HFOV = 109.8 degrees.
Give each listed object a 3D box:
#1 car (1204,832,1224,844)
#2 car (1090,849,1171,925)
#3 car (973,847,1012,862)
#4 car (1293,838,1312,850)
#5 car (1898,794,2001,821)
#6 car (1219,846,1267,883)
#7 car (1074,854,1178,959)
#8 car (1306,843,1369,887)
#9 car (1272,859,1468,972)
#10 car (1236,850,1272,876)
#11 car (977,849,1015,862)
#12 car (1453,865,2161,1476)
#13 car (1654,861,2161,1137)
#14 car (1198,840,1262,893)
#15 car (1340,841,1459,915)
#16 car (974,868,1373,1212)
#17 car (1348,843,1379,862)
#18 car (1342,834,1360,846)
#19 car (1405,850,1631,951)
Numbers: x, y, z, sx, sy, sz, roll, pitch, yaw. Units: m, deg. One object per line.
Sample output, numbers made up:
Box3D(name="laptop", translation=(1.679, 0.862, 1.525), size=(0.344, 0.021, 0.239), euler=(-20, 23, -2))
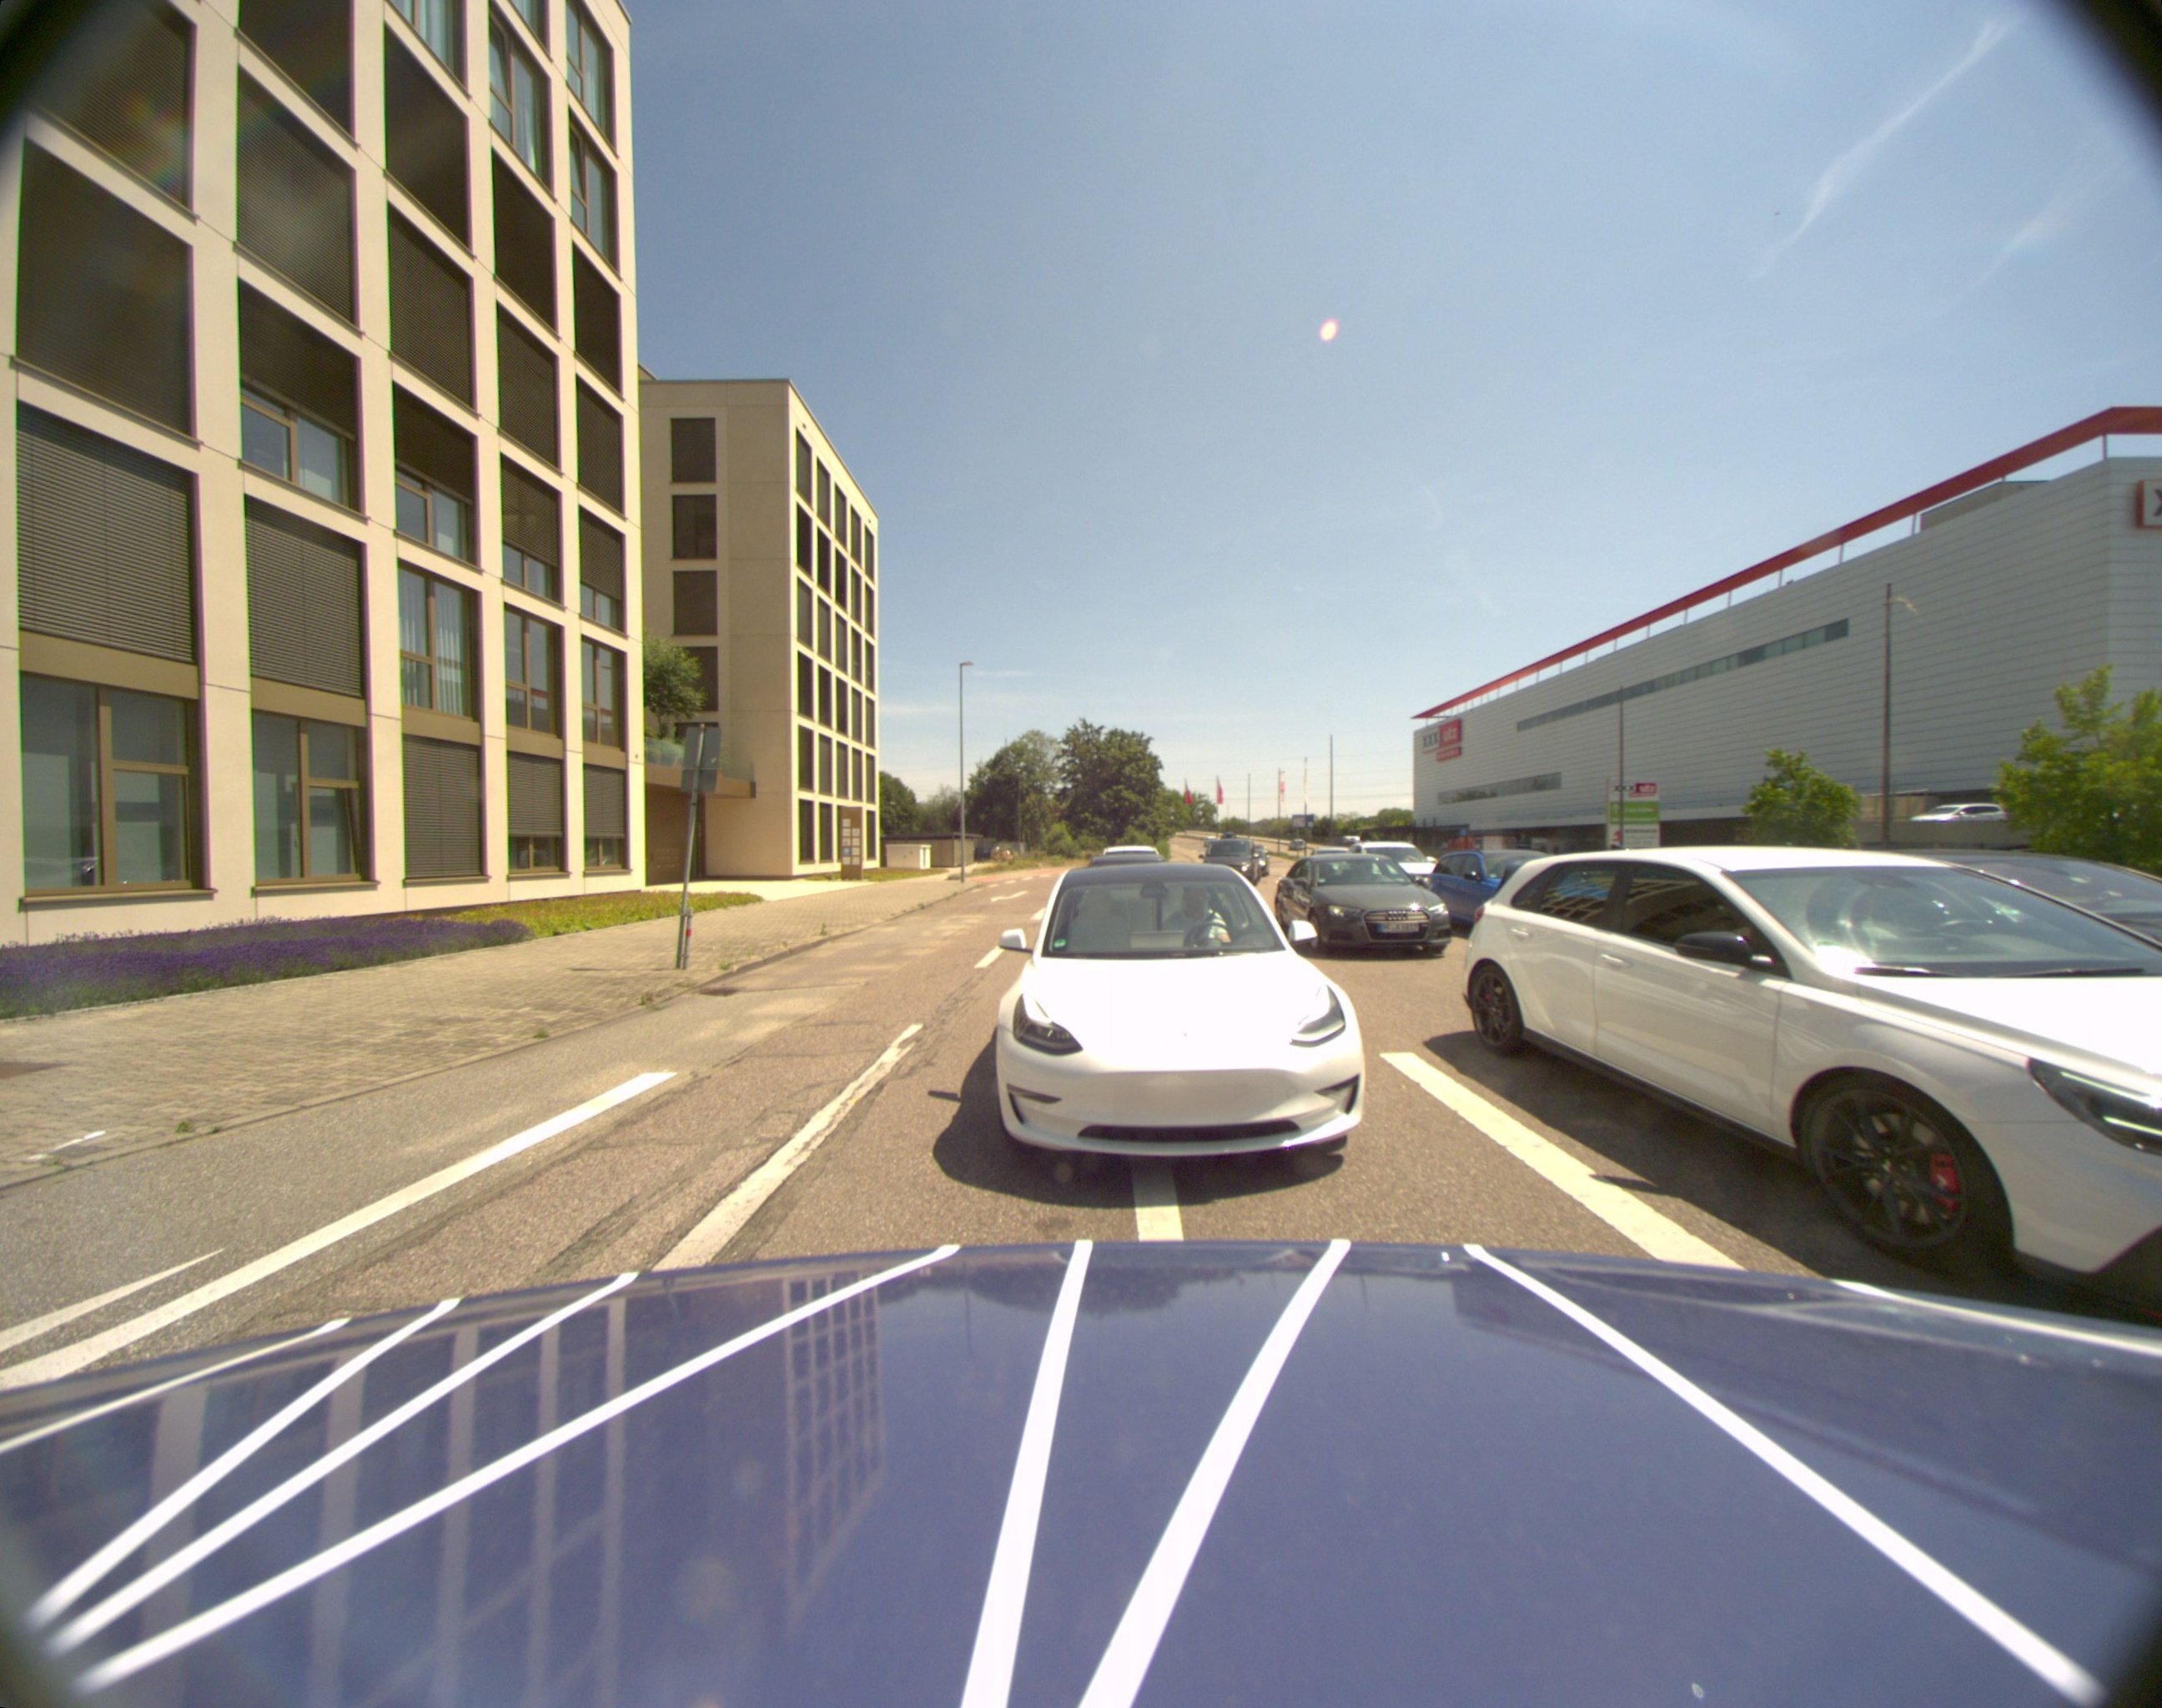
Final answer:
Box3D(name="car", translation=(21.166, -2.506, 120.754), size=(2.000, 1.893, 3.997), euler=(-2, 1, -7))
Box3D(name="car", translation=(1.235, 0.708, 18.616), size=(1.777, 1.600, 3.821), euler=(0, 1, 5))
Box3D(name="car", translation=(-9.201, 0.044, 79.190), size=(3.834, 1.543, 1.736), euler=(0, 1, -13))
Box3D(name="car", translation=(32.169, -1.407, 110.391), size=(1.866, 1.713, 4.044), euler=(0, 0, 4))
Box3D(name="car", translation=(51.652, -2.759, 45.264), size=(3.996, 1.499, 1.718), euler=(0, 1, 4))
Box3D(name="car", translation=(7.563, 0.434, 35.202), size=(1.811, 1.630, 4.005), euler=(0, 1, 18))
Box3D(name="car", translation=(0.826, 0.789, 13.327), size=(1.556, 1.528, 3.822), euler=(0, 1, 5))
Box3D(name="car", translation=(9.129, 0.374, 27.265), size=(1.767, 1.414, 3.903), euler=(-2, 0, 14))
Box3D(name="car", translation=(4.177, 0.795, 11.708), size=(1.769, 1.374, 4.091), euler=(0, 1, 5))
Box3D(name="car", translation=(9.945, 0.480, 43.465), size=(1.606, 1.431, 3.738), euler=(0, 1, 19))
Box3D(name="car", translation=(-9.081, 0.171, 81.225), size=(3.834, 1.386, 1.736), euler=(0, 1, -13))
Box3D(name="car", translation=(3.673, 0.840, 3.657), size=(1.792, 1.428, 4.070), euler=(-2, 1, 1))
Box3D(name="car", translation=(6.609, 0.790, 5.471), size=(1.675, 1.396, 4.467), euler=(-2, 0, 2))
Box3D(name="car", translation=(5.712, 0.391, 28.640), size=(1.893, 1.811, 4.842), euler=(0, 1, 17))
Box3D(name="car", translation=(7.986, 0.519, 19.478), size=(1.768, 1.632, 4.494), euler=(-2, 1, 9))
Box3D(name="car", translation=(0.467, 0.922, 5.711), size=(1.823, 1.428, 4.284), euler=(-2, 1, 1))
Box3D(name="car", translation=(26.417, -0.171, 71.239), size=(1.865, 1.713, 4.045), euler=(0, 1, 7))
Box3D(name="car", translation=(51.982, -2.616, 146.385), size=(2.191, 2.270, 4.814), euler=(0, 1, 4))
Box3D(name="car", translation=(7.356, 0.679, 13.375), size=(1.768, 1.394, 4.433), euler=(-3, 0, 7))
